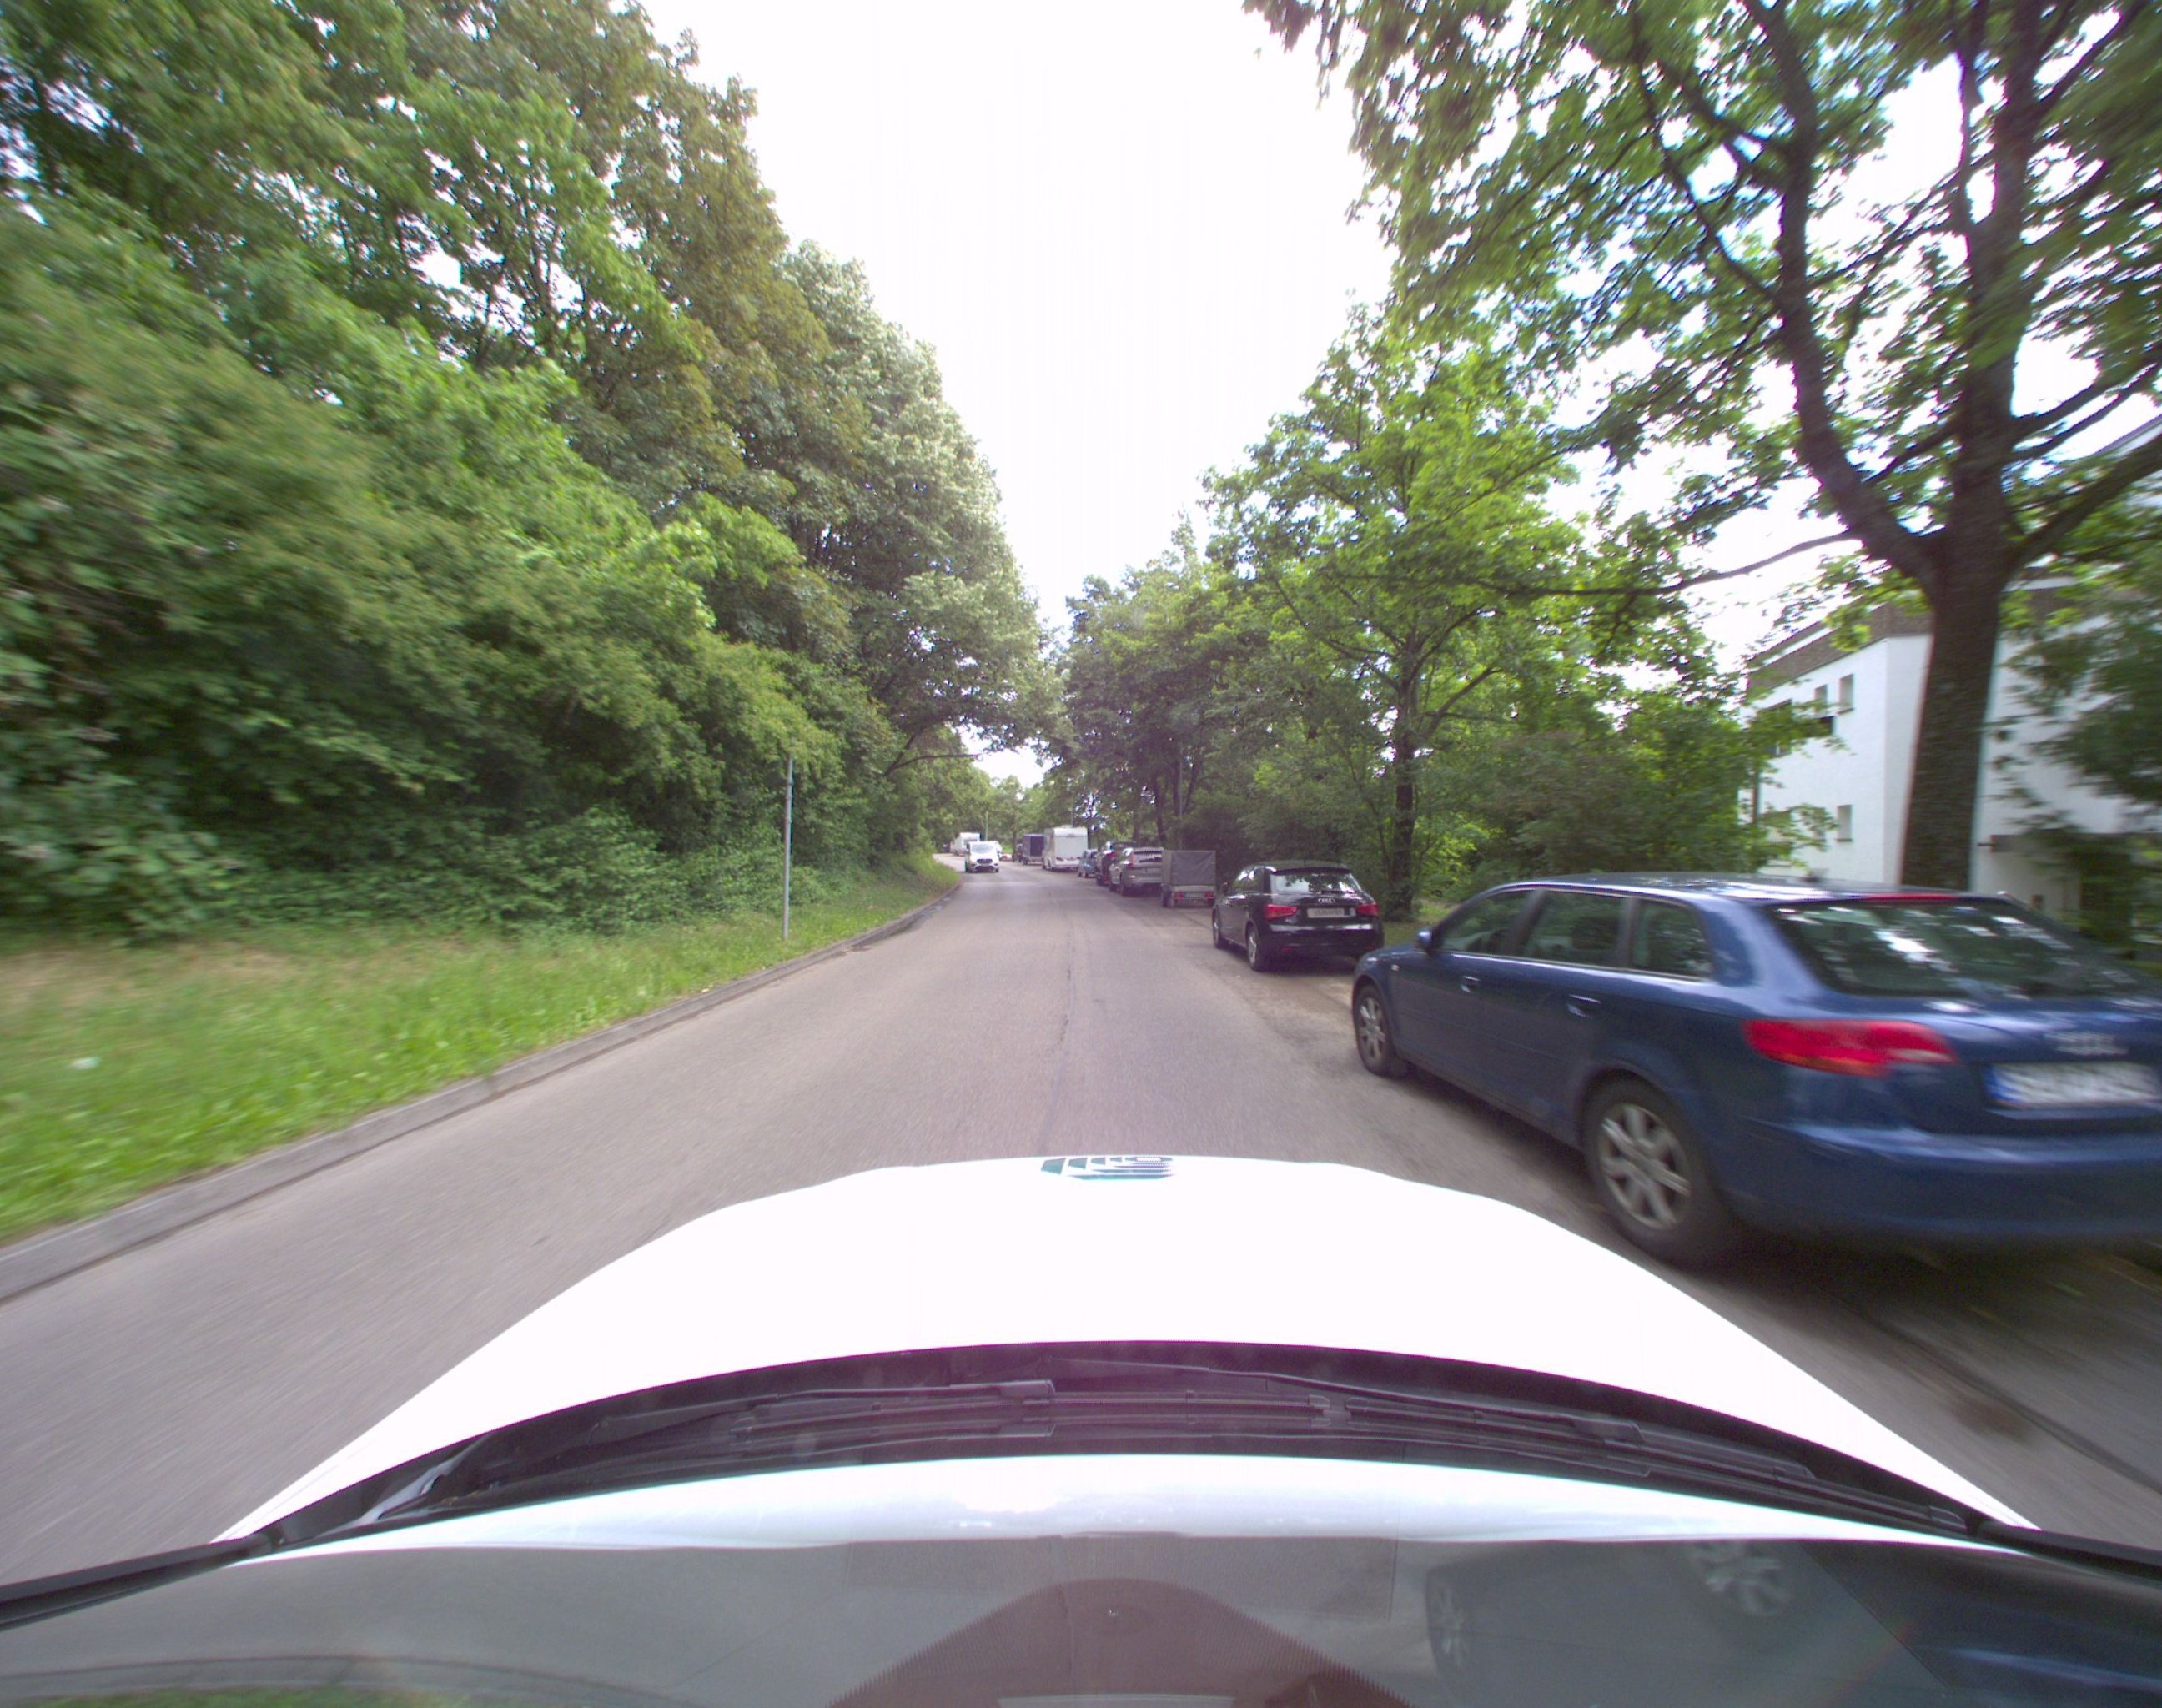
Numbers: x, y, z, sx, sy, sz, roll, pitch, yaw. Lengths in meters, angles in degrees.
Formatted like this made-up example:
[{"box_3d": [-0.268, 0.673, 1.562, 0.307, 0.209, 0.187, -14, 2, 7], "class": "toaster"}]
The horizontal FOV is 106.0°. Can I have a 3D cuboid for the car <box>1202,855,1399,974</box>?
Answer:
[{"box_3d": [3.008, 0.754, 12.031, 1.716, 1.453, 3.914, 0, 0, -3], "class": "car"}]

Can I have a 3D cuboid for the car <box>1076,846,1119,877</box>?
[{"box_3d": [0.852, 0.374, 44.702, 1.799, 1.562, 3.825, -1, 1, -8], "class": "car"}]

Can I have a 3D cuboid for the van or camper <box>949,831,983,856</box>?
[{"box_3d": [-12.892, -1.166, 91.342, 2.539, 2.697, 4.537, -2, 1, -25], "class": "van or camper"}]

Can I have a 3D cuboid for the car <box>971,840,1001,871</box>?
[{"box_3d": [-6.338, 0.090, 54.725, 1.945, 1.984, 4.493, 0, 0, -6], "class": "car"}]

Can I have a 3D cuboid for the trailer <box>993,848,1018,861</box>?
[{"box_3d": [-6.944, 0.029, 74.490, 1.655, 1.086, 3.979, -2, 2, -15], "class": "trailer"}]

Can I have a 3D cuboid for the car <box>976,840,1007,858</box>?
[{"box_3d": [-9.217, -0.560, 83.487, 2.044, 1.803, 4.052, -1, 1, -23], "class": "car"}]

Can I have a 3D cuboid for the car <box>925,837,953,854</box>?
[{"box_3d": [-17.523, -1.077, 100.424, 2.007, 1.869, 3.961, -3, 3, -31], "class": "car"}]

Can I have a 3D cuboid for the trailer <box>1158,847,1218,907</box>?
[{"box_3d": [2.952, 0.601, 22.832, 1.275, 1.585, 2.458, 0, 0, -2], "class": "trailer"}]

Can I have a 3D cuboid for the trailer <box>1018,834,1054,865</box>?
[{"box_3d": [-3.681, -0.369, 65.486, 1.999, 2.398, 3.976, 0, 0, -18], "class": "trailer"}]

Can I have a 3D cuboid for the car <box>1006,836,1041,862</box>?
[{"box_3d": [-5.038, -0.468, 70.800, 2.000, 2.025, 3.976, -3, 3, -18], "class": "car"}]

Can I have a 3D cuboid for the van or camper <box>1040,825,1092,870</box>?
[{"box_3d": [-1.131, -0.435, 54.994, 2.482, 2.876, 6.866, 0, 0, -10], "class": "van or camper"}]

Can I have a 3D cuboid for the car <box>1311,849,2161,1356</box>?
[{"box_3d": [2.966, 0.727, 4.672, 1.843, 1.474, 4.474, 0, 0, -3], "class": "car"}]

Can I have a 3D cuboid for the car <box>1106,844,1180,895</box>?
[{"box_3d": [2.124, 0.540, 29.239, 1.790, 1.670, 4.491, 0, -1, -7], "class": "car"}]

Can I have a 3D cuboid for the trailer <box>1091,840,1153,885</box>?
[{"box_3d": [1.700, 0.296, 35.378, 1.976, 1.811, 5.139, -1, 1, -5], "class": "trailer"}]
